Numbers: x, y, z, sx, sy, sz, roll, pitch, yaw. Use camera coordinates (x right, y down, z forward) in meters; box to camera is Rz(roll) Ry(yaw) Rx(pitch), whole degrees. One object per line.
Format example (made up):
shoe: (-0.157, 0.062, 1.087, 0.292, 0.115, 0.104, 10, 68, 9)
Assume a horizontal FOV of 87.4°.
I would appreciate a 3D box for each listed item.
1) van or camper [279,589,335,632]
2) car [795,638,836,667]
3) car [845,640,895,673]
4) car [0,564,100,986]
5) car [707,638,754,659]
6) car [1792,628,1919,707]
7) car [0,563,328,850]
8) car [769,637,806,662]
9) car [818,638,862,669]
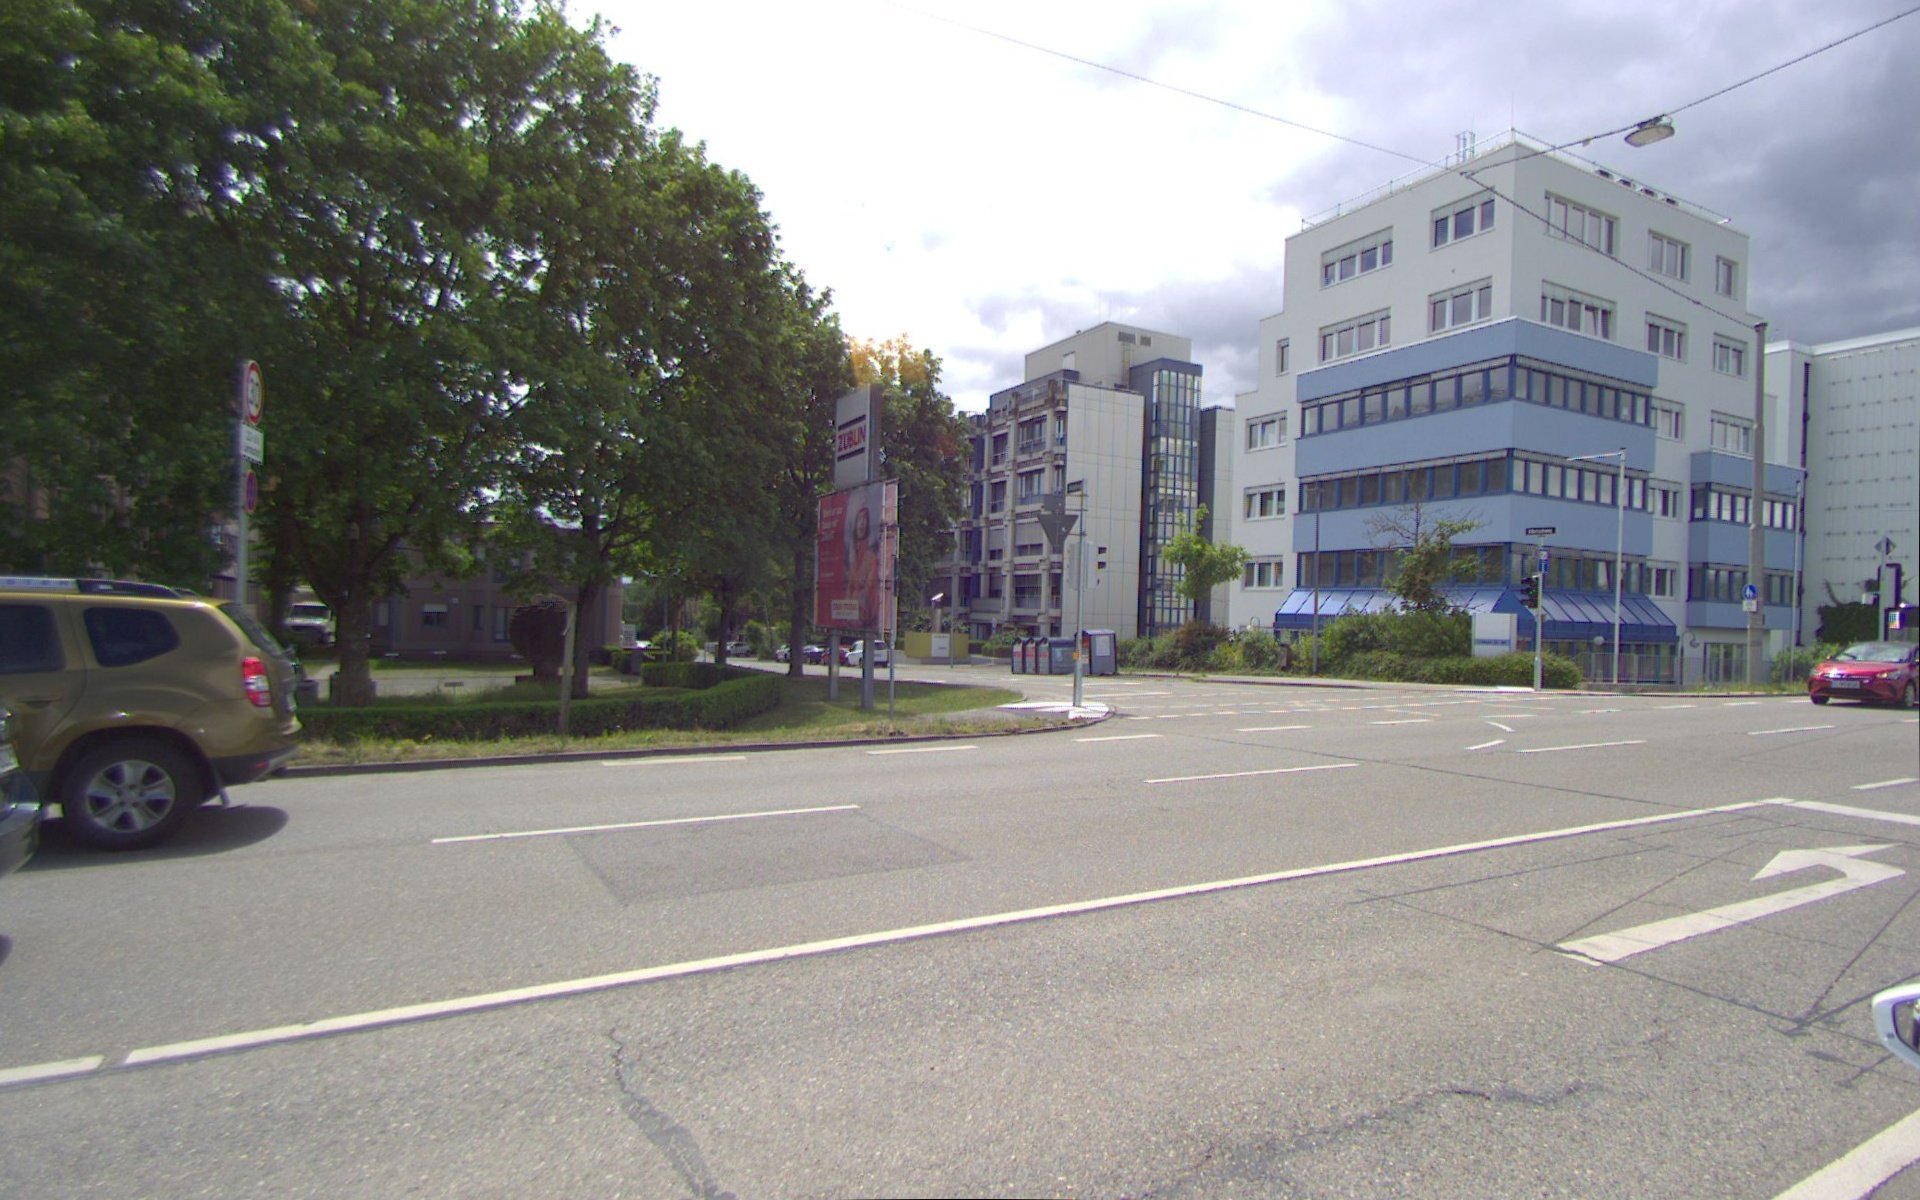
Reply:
van or camper: (-35.064, 0.546, 54.025, 2.333, 2.132, 5.159, 3, -1, -32)
car: (-10.895, 3.925, 75.680, 1.848, 2.040, 3.973, 2, -1, -26)
car: (-6.016, 3.717, 66.490, 1.974, 2.006, 3.974, 2, -1, -26)
car: (-5.489, 0.646, 3.156, 3.961, 1.544, 1.661, 1, -2, -30)
car: (-22.528, 4.811, 98.621, 3.972, 1.945, 1.976, 5, -6, -42)
car: (21.035, 1.532, 23.046, 3.954, 1.633, 1.767, 3, -1, -30)
car: (-6.414, 0.624, 6.315, 3.951, 1.652, 1.744, 2, -3, -29)
car: (-14.060, 4.014, 81.866, 1.875, 1.919, 3.973, 2, -1, -26)
car: (-8.607, 3.804, 71.620, 1.868, 2.040, 3.974, 2, -1, -26)
